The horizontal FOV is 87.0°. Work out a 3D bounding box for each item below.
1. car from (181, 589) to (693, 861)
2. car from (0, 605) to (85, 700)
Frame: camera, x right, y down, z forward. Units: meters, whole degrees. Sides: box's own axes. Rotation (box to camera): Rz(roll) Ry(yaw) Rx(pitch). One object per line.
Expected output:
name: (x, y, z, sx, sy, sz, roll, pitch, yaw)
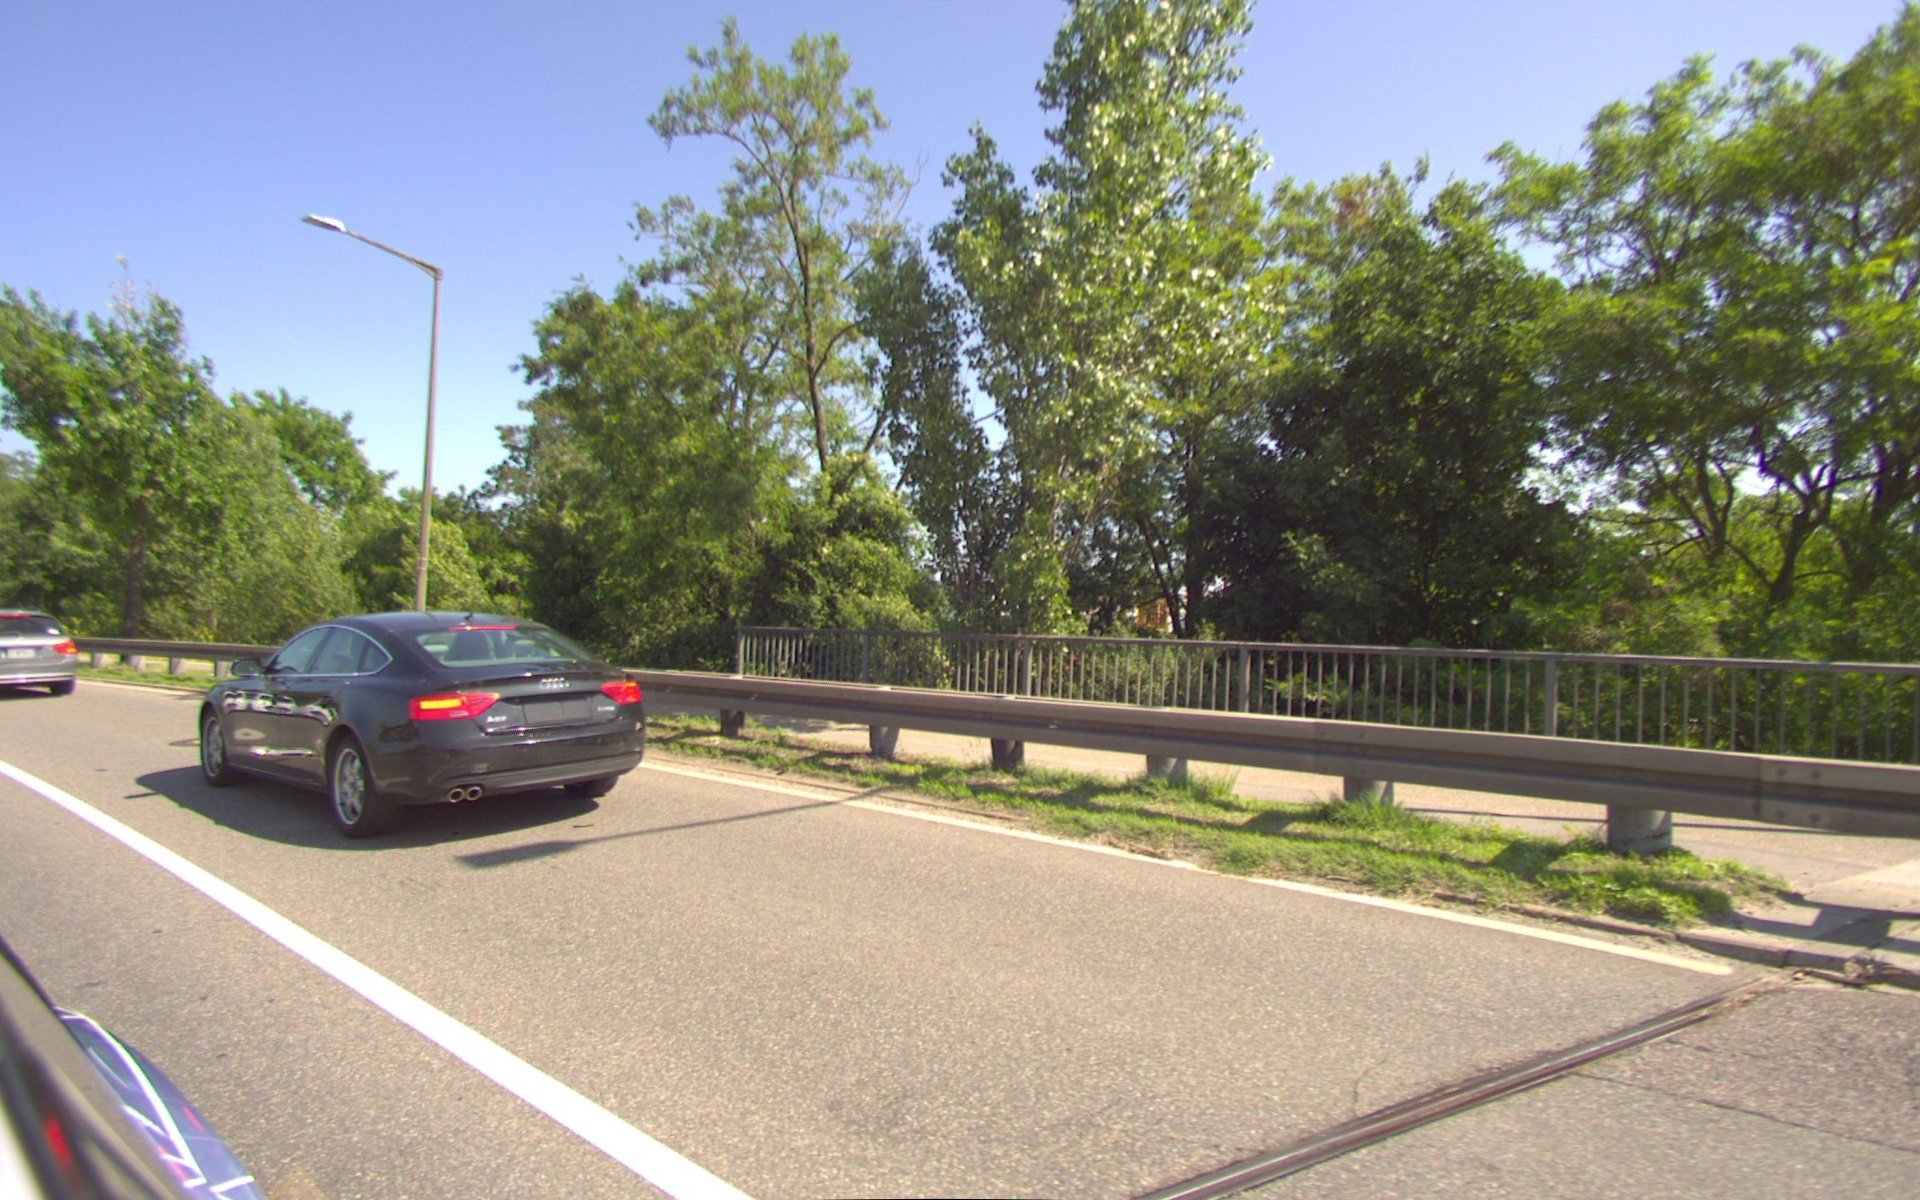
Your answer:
car: (-4.023, 0.665, 7.479, 4.292, 1.468, 1.722, 0, 1, 38)
car: (-15.979, 0.797, 16.426, 4.172, 1.408, 1.702, 0, 0, 35)
